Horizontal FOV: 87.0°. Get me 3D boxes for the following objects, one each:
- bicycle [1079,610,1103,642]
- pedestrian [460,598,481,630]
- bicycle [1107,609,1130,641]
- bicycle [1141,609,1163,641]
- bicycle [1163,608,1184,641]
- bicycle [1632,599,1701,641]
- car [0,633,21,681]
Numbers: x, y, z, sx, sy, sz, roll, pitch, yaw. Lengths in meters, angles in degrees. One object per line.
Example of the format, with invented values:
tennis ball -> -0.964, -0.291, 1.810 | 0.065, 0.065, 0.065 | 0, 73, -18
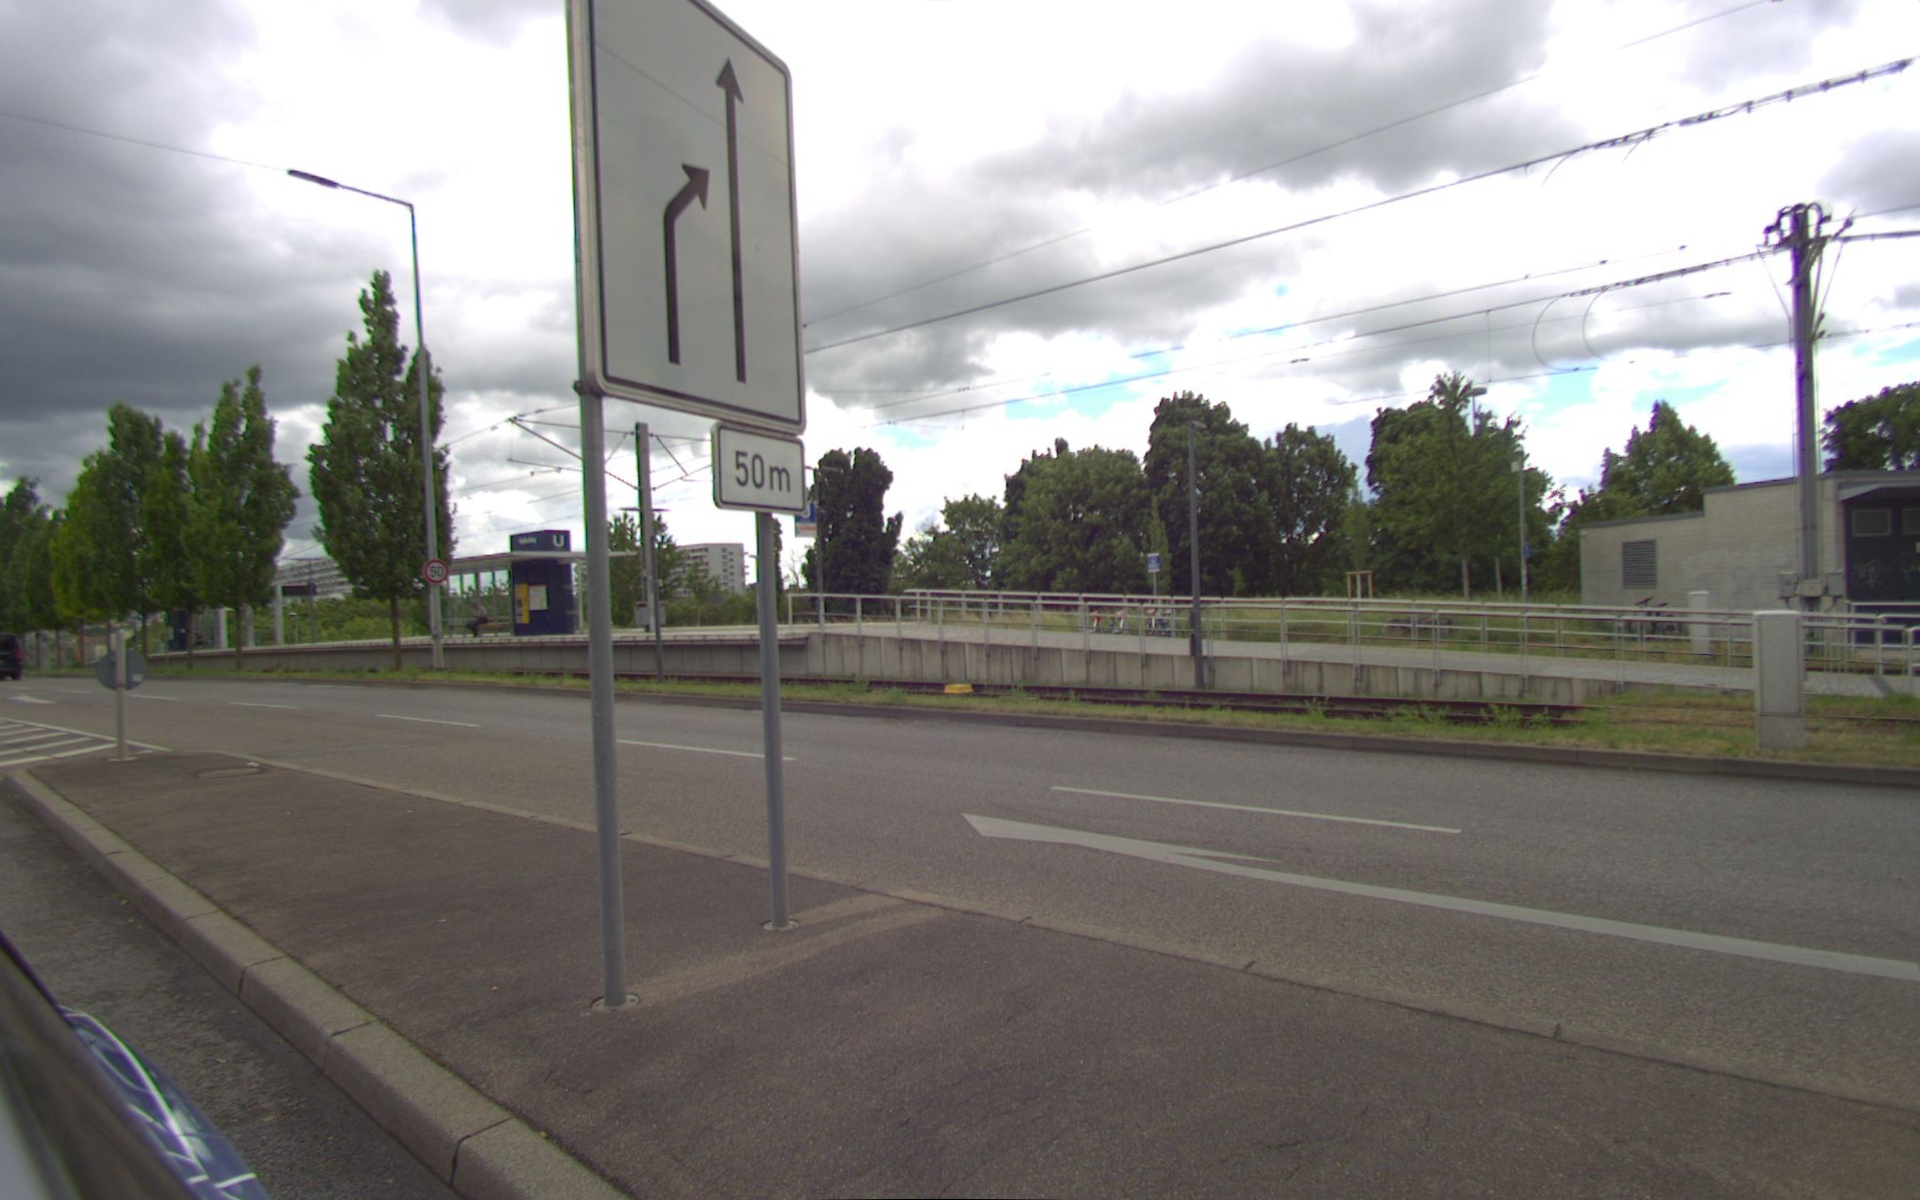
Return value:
bicycle -> 4.532, 0.876, 34.881 | 0.531, 1.039, 1.804 | -1, 0, 16
pedestrian -> -18.307, 0.521, 37.842 | 0.447, 1.163, 0.593 | -1, 0, 41
bicycle -> 5.400, 0.848, 34.448 | 0.531, 1.039, 1.804 | -1, 0, 16
bicycle -> 6.456, 0.819, 33.995 | 0.531, 1.039, 1.804 | -1, 0, 16
bicycle -> 7.114, 0.798, 33.671 | 0.531, 1.039, 1.804 | -1, 0, 16
bicycle -> 18.202, 0.503, 26.106 | 0.529, 1.039, 1.813 | -1, 0, 1
car -> -39.058, 2.289, 40.081 | 5.083, 1.826, 1.870 | -2, -2, 37
